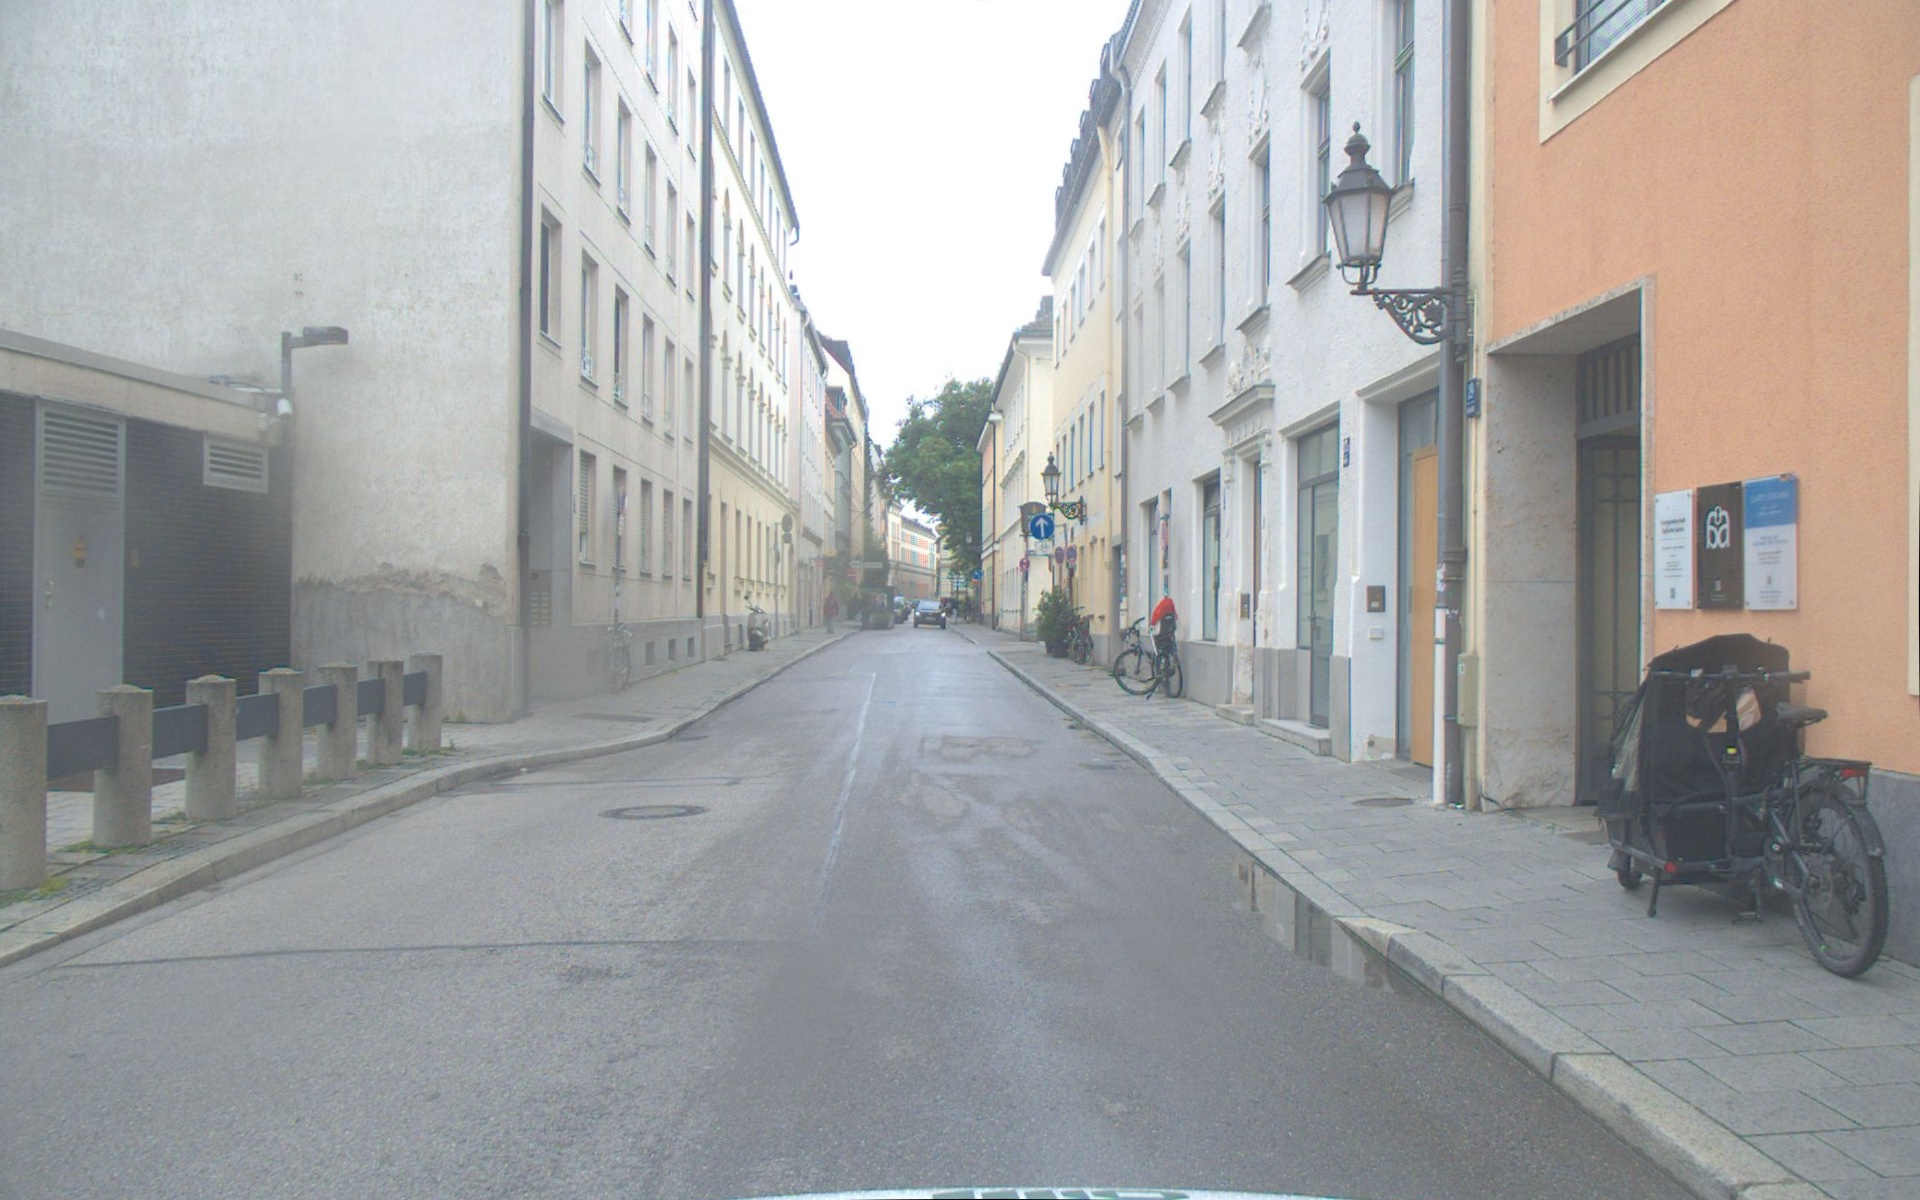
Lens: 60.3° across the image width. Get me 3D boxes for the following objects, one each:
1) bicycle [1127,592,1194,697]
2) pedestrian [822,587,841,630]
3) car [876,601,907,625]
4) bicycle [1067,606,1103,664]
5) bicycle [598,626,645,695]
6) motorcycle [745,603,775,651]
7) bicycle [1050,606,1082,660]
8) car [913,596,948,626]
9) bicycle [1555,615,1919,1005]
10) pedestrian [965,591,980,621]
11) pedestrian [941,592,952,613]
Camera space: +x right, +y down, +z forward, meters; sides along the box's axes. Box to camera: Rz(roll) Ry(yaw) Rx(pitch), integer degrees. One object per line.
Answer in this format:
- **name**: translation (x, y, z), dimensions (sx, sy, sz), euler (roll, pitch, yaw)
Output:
- **bicycle**: translation (2.876, 0.605, 23.886), dimensions (0.698, 1.420, 2.122), euler (-2, 0, 1)
- **pedestrian**: translation (-5.274, 0.337, 67.840), dimensions (0.750, 1.738, 0.785), euler (0, 0, -4)
- **car**: translation (-4.381, 0.827, 106.281), dimensions (1.742, 1.492, 3.663), euler (1, 0, 1)
- **bicycle**: translation (2.634, 0.728, 34.966), dimensions (0.554, 1.157, 1.987), euler (-2, 0, 0)
- **bicycle**: translation (-5.019, 0.882, 24.582), dimensions (0.313, 0.960, 1.574), euler (3, 0, 0)
- **motorcycle**: translation (-5.166, 0.687, 42.811), dimensions (0.590, 1.194, 1.708), euler (1, 0, -1)
- **bicycle**: translation (2.377, 0.727, 37.179), dimensions (0.554, 1.157, 1.684), euler (-2, 0, -1)
- **car**: translation (-1.627, 0.582, 90.538), dimensions (1.776, 1.622, 3.998), euler (0, 0, -3)
- **bicycle**: translation (3.300, 0.743, 6.951), dimensions (0.665, 1.261, 2.382), euler (-4, 0, 0)
- **pedestrian**: translation (0.752, 0.386, 102.552), dimensions (0.862, 1.833, 1.046), euler (1, 0, -1)
- **pedestrian**: translation (-1.197, 0.263, 146.983), dimensions (0.995, 1.833, 1.349), euler (1, 0, -1)
